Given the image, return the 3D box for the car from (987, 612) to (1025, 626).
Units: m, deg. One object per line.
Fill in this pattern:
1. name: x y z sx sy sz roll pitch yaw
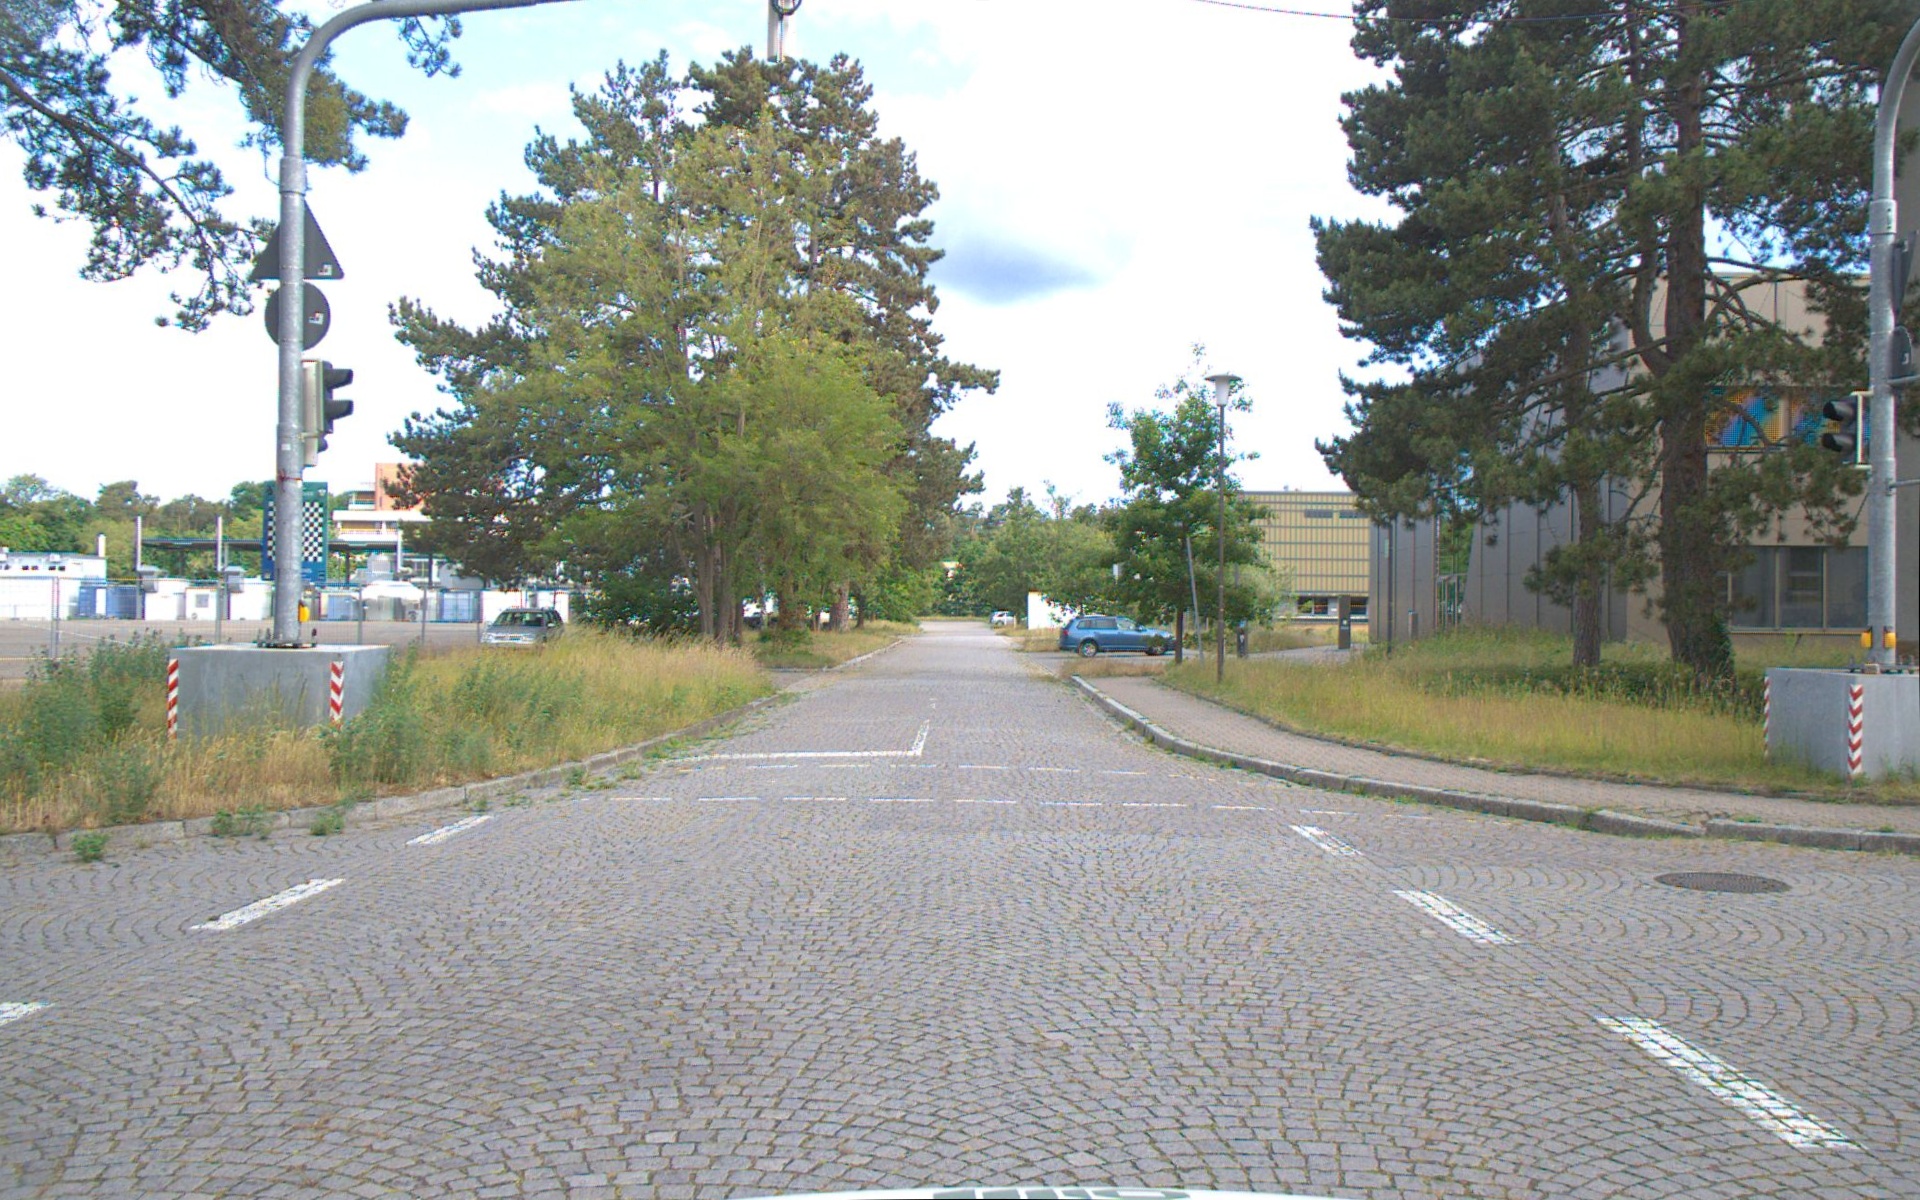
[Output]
1. car: 4.967 2.052 179.010 3.910 1.422 1.998 1 0 -6

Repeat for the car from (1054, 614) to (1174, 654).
1. car: 5.741 1.262 61.945 4.256 1.447 1.999 0 0 -2

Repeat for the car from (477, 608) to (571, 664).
1. car: -12.359 0.988 47.113 1.580 1.513 4.000 1 0 0
